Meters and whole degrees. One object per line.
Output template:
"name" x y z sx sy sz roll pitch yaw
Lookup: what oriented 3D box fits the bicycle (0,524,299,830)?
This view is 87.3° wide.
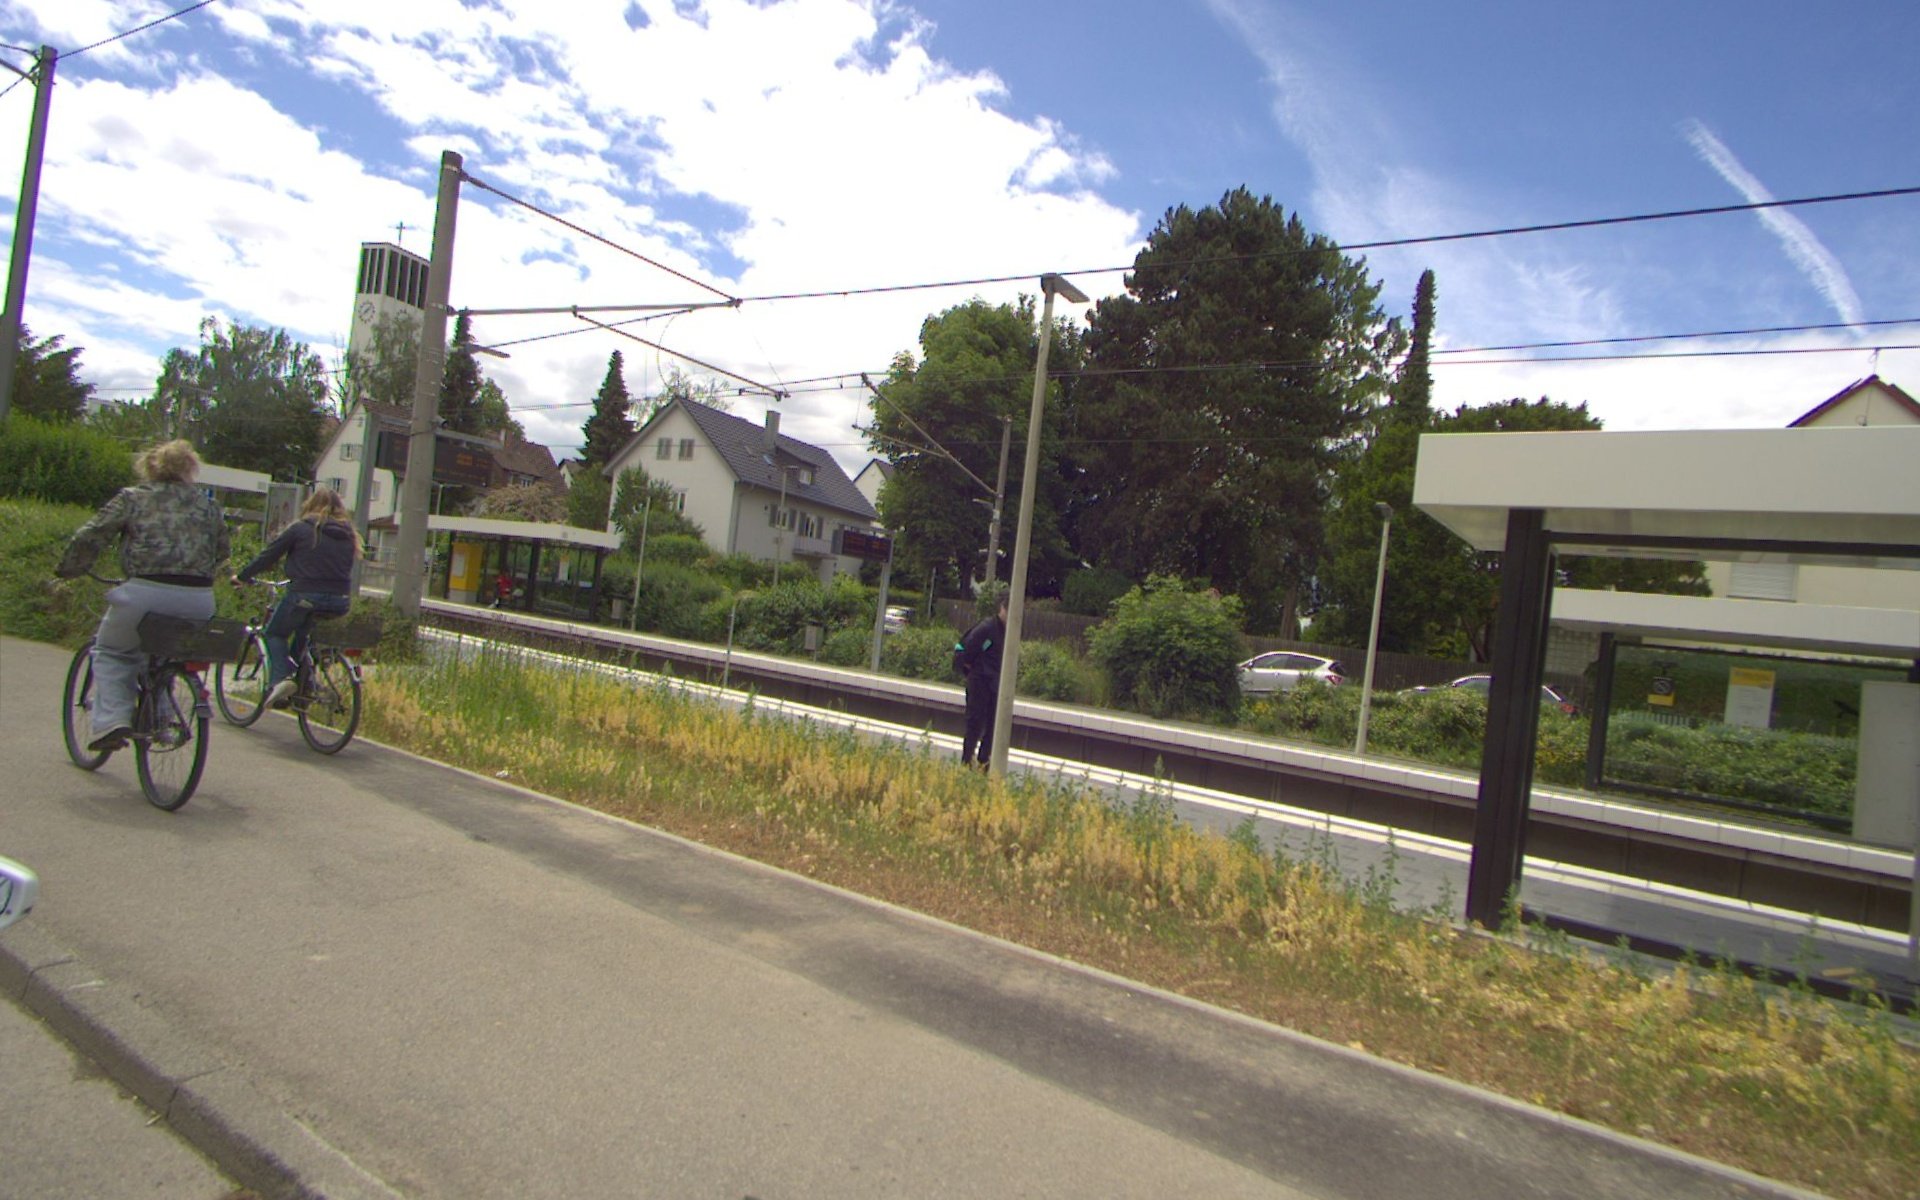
"bicycle" -4.373 0.336 5.304 2.021 1.261 0.547 7 -1 31

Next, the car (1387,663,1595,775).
"car" 12.182 2.701 23.169 3.875 1.935 1.734 5 -3 37

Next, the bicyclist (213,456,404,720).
"bicyclist" -4.448 -0.077 6.878 0.805 1.669 0.640 7 -1 31

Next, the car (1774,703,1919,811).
"car" 18.006 3.075 18.821 3.933 1.681 1.779 7 -1 31

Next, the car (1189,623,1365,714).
"car" 8.243 1.768 26.326 3.876 1.771 1.733 6 -2 38

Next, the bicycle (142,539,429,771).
"bicycle" -4.766 0.329 7.034 2.355 1.261 0.619 7 -1 31

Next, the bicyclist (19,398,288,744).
"bicyclist" -4.161 -0.141 5.211 0.745 1.631 0.719 7 -1 31

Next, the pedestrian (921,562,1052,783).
"pedestrian" 0.229 0.610 8.517 0.645 1.745 0.637 7 -1 40
